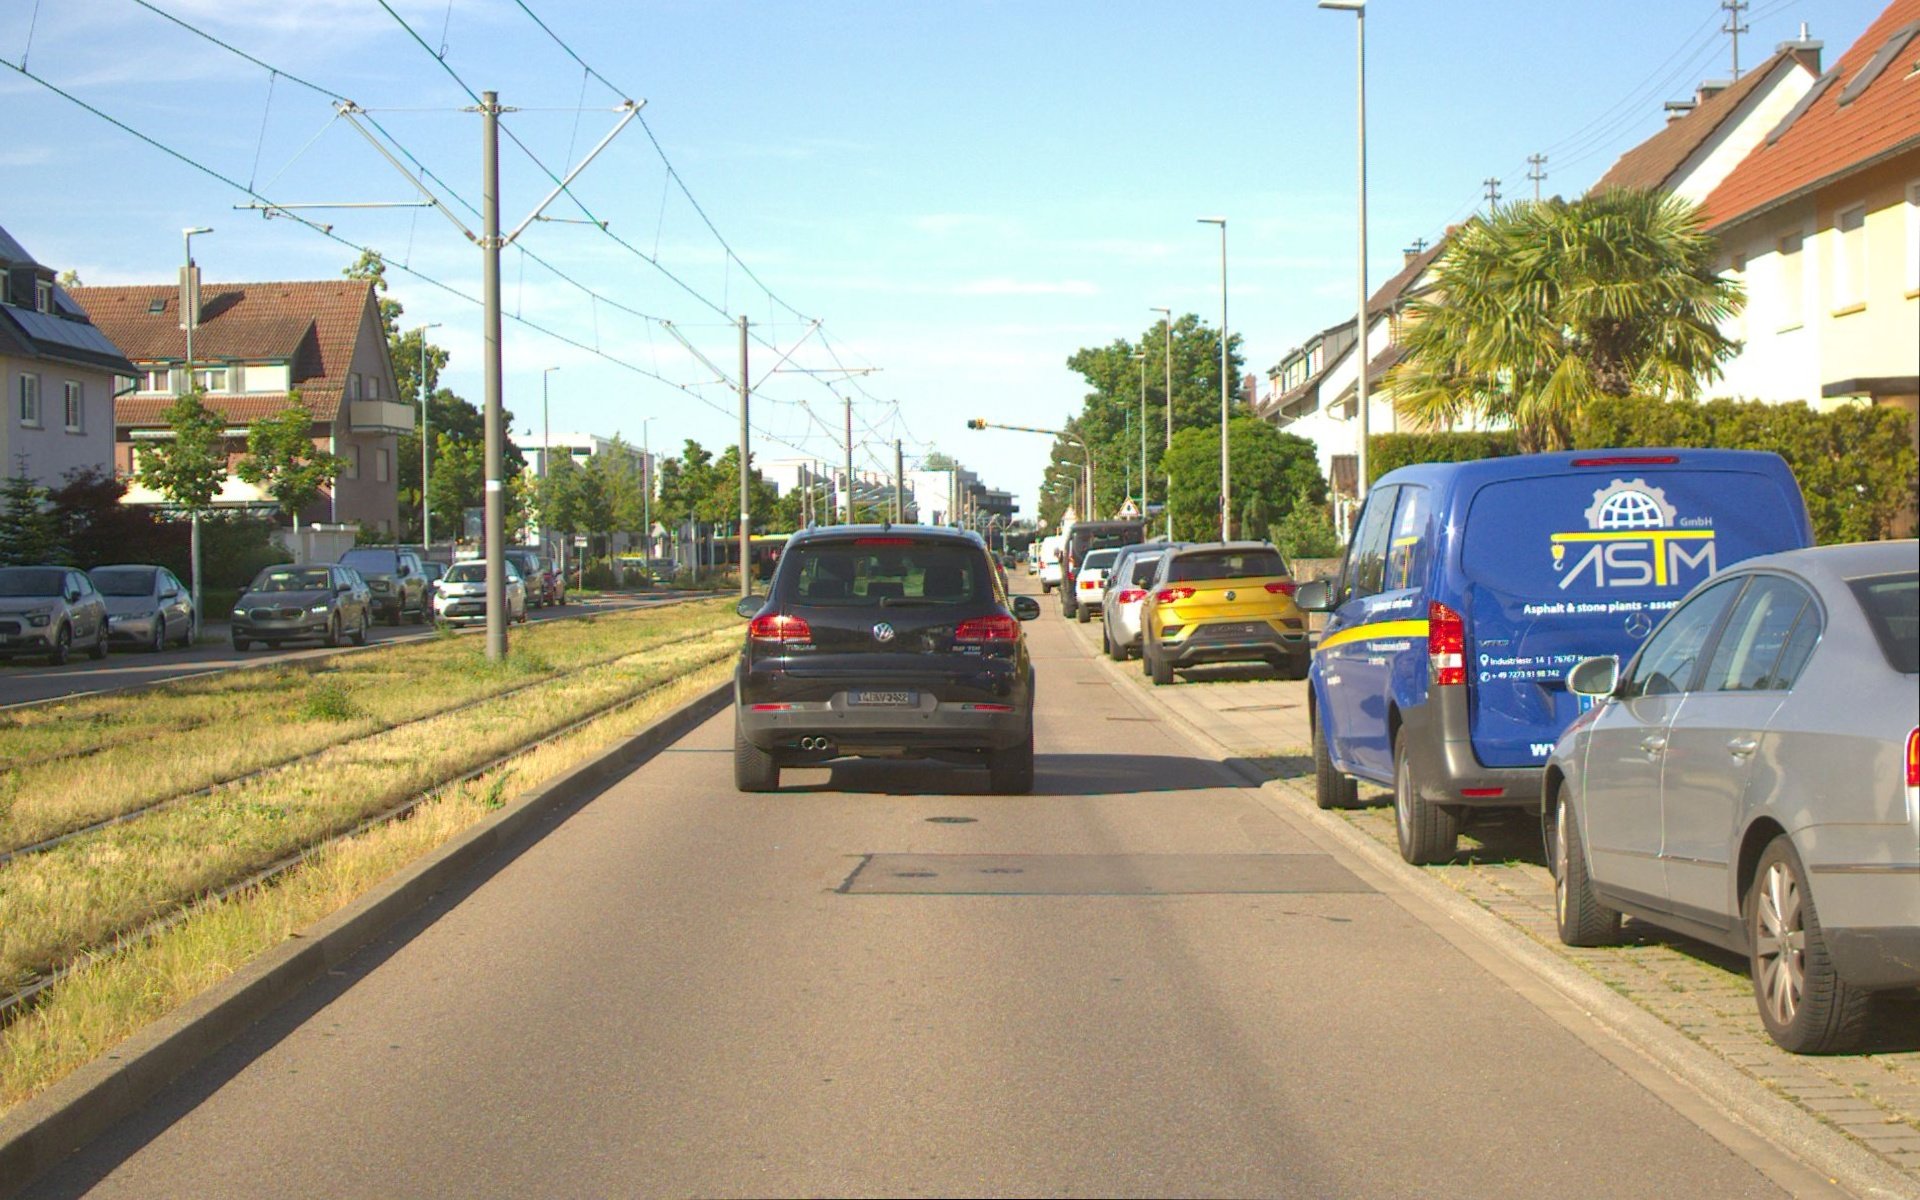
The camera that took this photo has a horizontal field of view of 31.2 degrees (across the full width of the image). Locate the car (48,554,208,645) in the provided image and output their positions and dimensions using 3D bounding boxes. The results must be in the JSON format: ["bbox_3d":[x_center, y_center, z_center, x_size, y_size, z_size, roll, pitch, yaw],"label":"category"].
[{"bbox_3d":[-14.155,-0.033,58.719,1.688,1.470,4.443,1,1,-1],"label":"car"}]

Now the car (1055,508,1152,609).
[{"bbox_3d":[3.166,-0.930,76.794,1.960,2.137,5.335,-2,1,1],"label":"car"}]

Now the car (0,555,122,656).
[{"bbox_3d":[-14.198,0.059,52.722,1.688,1.467,4.315,1,1,-1],"label":"car"}]

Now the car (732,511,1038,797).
[{"bbox_3d":[-0.463,0.298,22.236,1.775,1.664,4.000,1,1,-1],"label":"car"}]

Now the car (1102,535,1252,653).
[{"bbox_3d":[2.942,-0.121,47.402,1.748,1.442,4.699,-2,2,0],"label":"car"}]

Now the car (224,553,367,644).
[{"bbox_3d":[-11.289,-0.051,58.649,1.688,1.470,4.083,1,1,-1],"label":"car"}]

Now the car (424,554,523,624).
[{"bbox_3d":[-10.642,-0.256,75.397,1.688,1.470,3.680,1,1,-1],"label":"car"}]

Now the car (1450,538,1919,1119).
[{"bbox_3d":[3.042,0.534,11.436,1.730,1.453,5.286,-1,1,-4],"label":"car"}]

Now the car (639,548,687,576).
[{"bbox_3d":[-16.074,-2.040,186.107,1.811,1.456,4.316,1,1,6],"label":"car"}]

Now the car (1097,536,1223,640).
[{"bbox_3d":[3.047,-0.223,53.122,1.777,1.493,4.728,-1,1,2],"label":"car"}]

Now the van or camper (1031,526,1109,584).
[{"bbox_3d":[3.872,-1.578,119.710,2.028,1.949,5.293,-1,1,9],"label":"van or camper"}]

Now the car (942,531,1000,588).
[{"bbox_3d":[0.329,-1.333,112.272,1.627,1.822,4.131,-1,1,-3],"label":"car"}]

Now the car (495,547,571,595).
[{"bbox_3d":[-13.141,-0.915,105.909,1.695,1.400,4.078,-1,1,2],"label":"car"}]

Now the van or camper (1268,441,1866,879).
[{"bbox_3d":[2.880,0.225,17.677,1.949,1.840,5.583,-2,1,-1],"label":"van or camper"}]

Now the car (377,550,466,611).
[{"bbox_3d":[-13.594,-0.519,86.965,1.676,1.485,4.050,1,1,-1],"label":"car"}]

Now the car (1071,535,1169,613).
[{"bbox_3d":[3.231,-0.551,70.018,1.853,1.439,5.613,-3,1,2],"label":"car"}]

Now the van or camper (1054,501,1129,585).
[{"bbox_3d":[3.762,-1.620,99.199,1.993,2.263,6.304,-2,0,1],"label":"van or camper"}]

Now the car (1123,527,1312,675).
[{"bbox_3d":[2.923,-0.020,39.940,1.805,1.553,4.926,-2,1,0],"label":"car"}]

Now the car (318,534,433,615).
[{"bbox_3d":[-13.726,-0.628,80.984,1.745,1.817,4.841,1,1,1],"label":"car"}]
